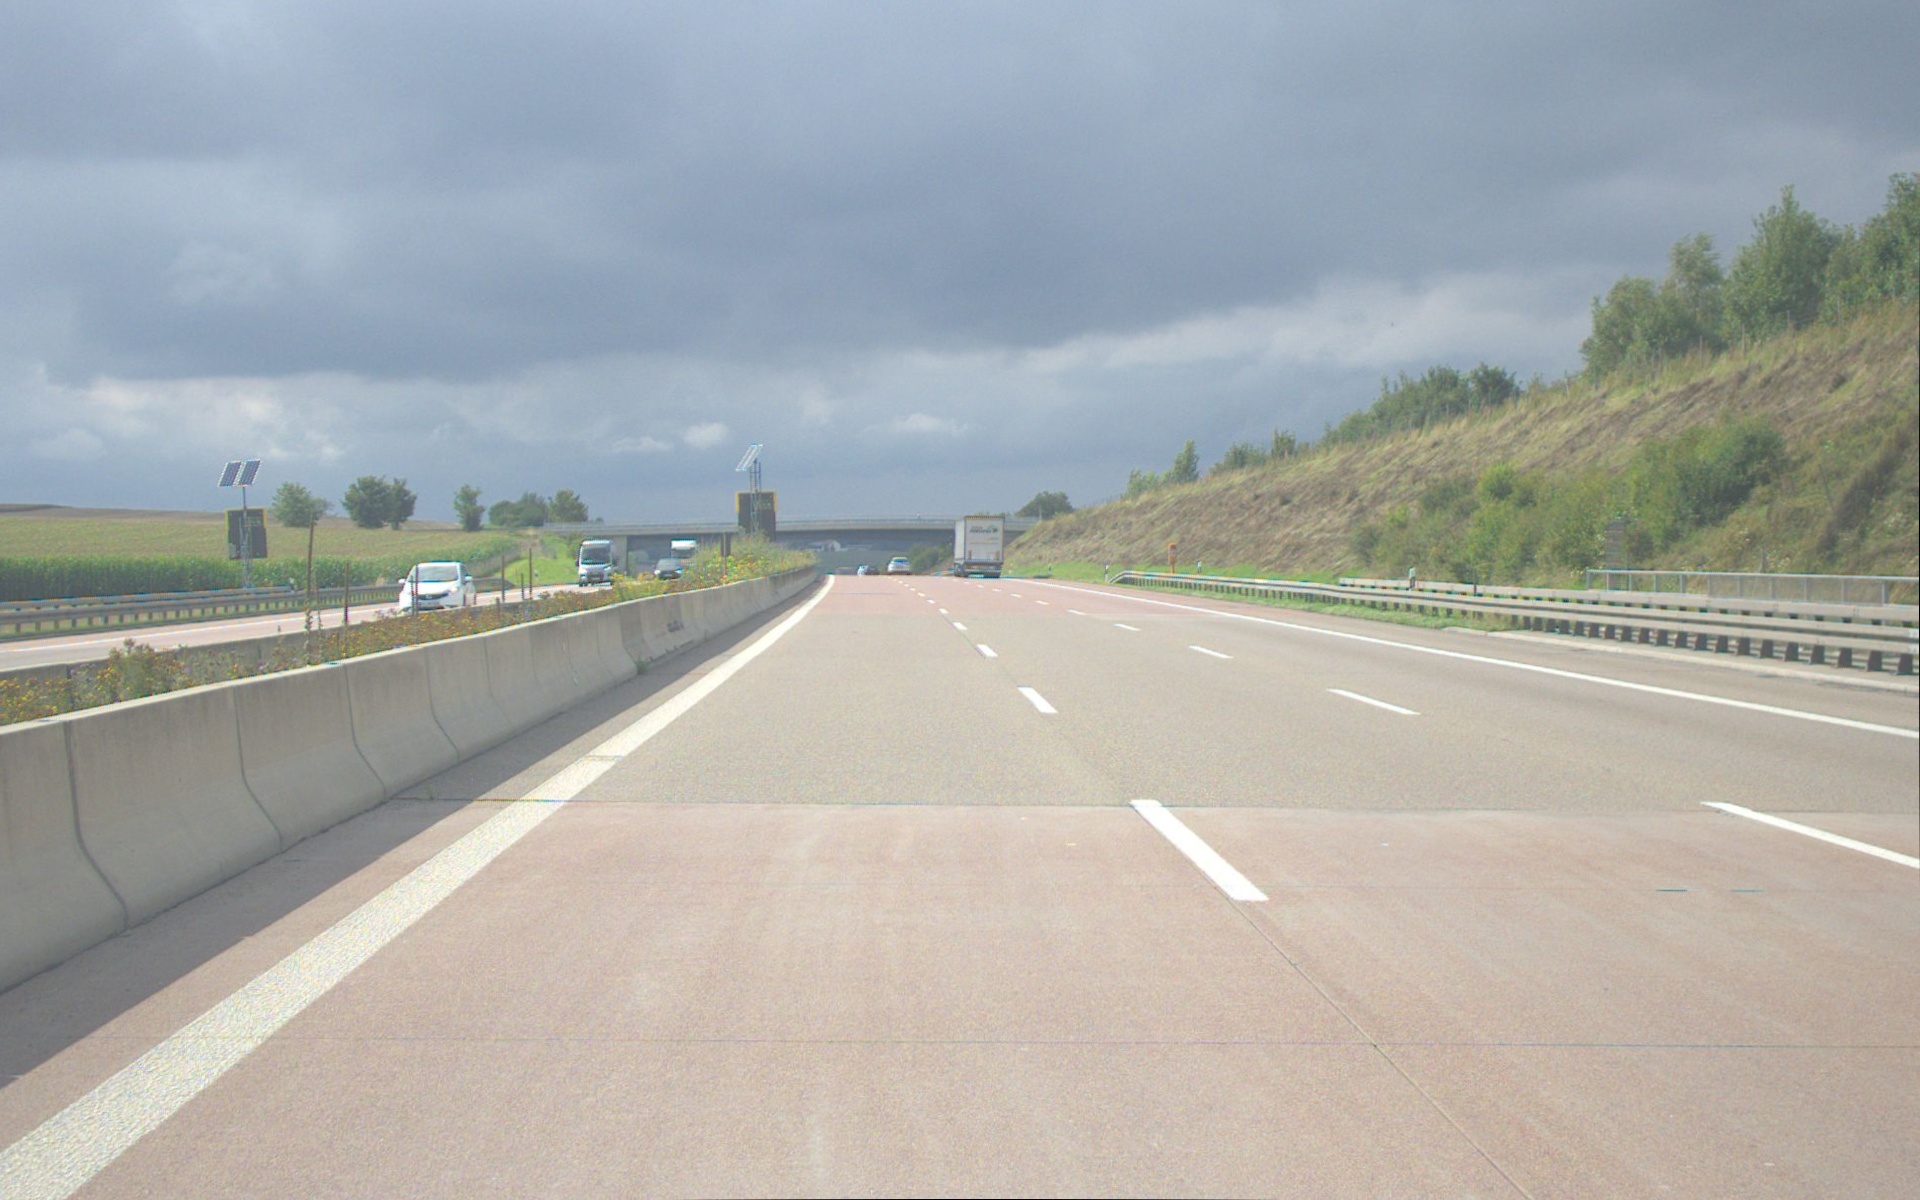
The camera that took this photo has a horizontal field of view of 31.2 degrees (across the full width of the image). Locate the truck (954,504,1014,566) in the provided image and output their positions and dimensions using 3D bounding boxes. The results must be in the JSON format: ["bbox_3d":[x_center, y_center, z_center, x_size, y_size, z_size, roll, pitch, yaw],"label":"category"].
[{"bbox_3d":[1.537,-4.315,227.194,3.617,3.932,11.175,2,1,-1],"label":"truck"}]

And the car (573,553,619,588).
[{"bbox_3d":[-20.984,-1.733,198.541,2.057,1.906,5.703,-1,1,0],"label":"car"}]

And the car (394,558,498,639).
[{"bbox_3d":[-13.818,-0.064,92.659,1.993,2.063,4.711,-1,1,1],"label":"car"}]
